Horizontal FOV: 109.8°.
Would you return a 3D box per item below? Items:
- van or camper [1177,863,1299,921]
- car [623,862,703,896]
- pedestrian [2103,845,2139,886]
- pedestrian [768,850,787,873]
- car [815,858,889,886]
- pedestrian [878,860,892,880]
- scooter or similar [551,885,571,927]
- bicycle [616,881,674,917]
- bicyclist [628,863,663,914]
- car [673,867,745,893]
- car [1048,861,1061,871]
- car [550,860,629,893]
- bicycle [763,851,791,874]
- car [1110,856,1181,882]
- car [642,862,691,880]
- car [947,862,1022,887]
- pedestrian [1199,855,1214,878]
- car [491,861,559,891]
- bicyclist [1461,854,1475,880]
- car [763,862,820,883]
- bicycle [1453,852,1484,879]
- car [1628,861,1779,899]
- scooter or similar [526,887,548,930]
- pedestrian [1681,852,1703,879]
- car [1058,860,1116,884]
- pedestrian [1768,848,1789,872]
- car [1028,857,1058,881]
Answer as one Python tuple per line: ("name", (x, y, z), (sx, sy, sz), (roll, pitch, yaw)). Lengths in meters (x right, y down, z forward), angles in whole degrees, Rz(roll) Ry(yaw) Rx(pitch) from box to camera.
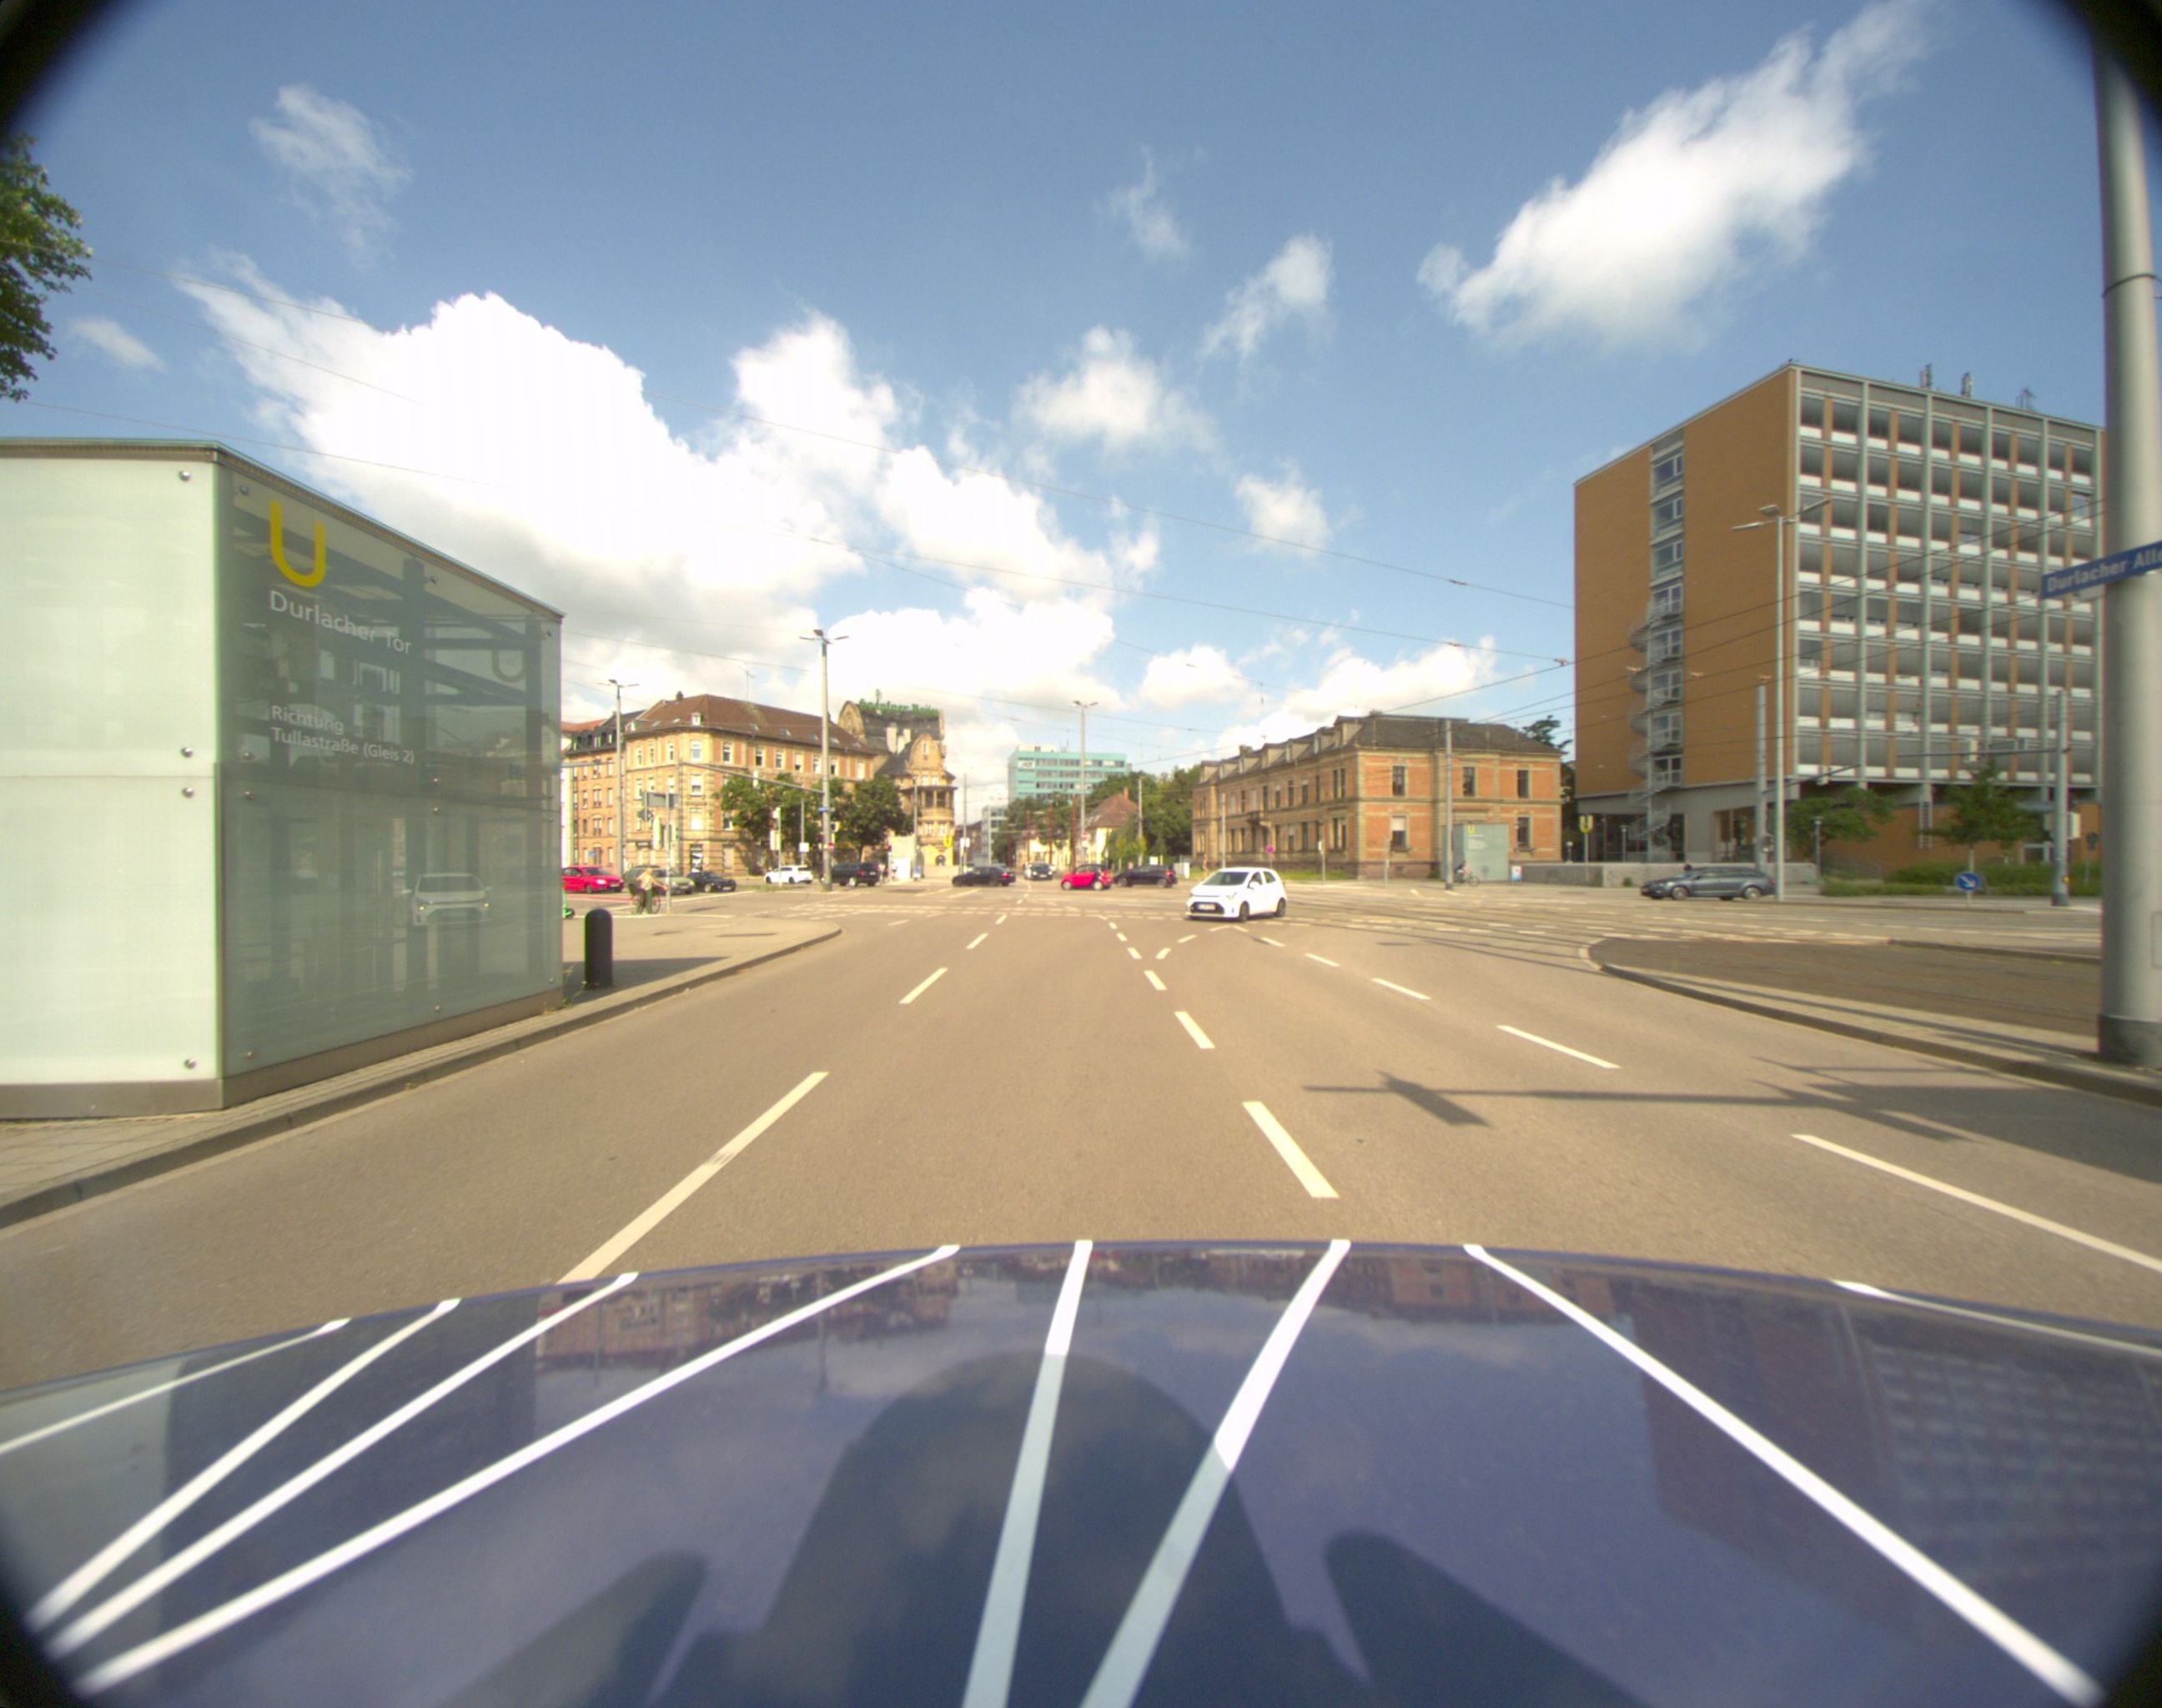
("van or camper", (4.590, 1.009, 21.801), (1.623, 1.467, 4.008), (0, 0, 42))
("car", (-21.864, 1.288, 39.725), (3.989, 1.505, 1.829), (0, 5, 32))
("pedestrian", (54.117, 0.591, 39.546), (0.805, 2.005, 0.725), (2, 10, 38))
("pedestrian", (-25.518, 0.607, 63.818), (0.993, 1.832, 0.997), (1, 6, 39))
("car", (-15.630, 1.178, 51.799), (4.671, 1.659, 2.003), (1, 3, 27))
("pedestrian", (-15.666, 1.279, 60.803), (0.707, 1.632, 0.798), (0, 0, 23))
("scooter or similar", (-15.376, 1.521, 22.475), (0.382, 1.151, 0.927), (-2, 2, -40))
("bicycle", (-14.908, 1.508, 26.048), (0.789, 1.121, 1.992), (-1, 0, 2))
("bicyclist", (-14.903, 1.184, 26.010), (0.711, 1.734, 0.828), (-1, -2, 1))
("car", (-20.432, 1.407, 41.697), (3.989, 1.155, 1.629), (0, 5, 32))
("car", (-4.761, 2.143, 136.600), (1.757, 1.522, 3.994), (-2, 3, -11))
("car", (-27.002, 1.208, 41.704), (3.989, 1.511, 2.002), (0, 5, 32))
("bicycle", (-25.575, 0.699, 63.879), (2.461, 1.716, 1.010), (1, 6, 40))
("car", (4.022, 0.910, 47.160), (3.991, 1.446, 1.716), (-1, 3, 22))
("car", (-35.987, 1.428, 65.941), (4.244, 1.519, 1.776), (0, 0, 30))
("car", (-6.407, 1.342, 50.570), (4.499, 1.391, 2.002), (0, 3, 18))
("pedestrian", (9.607, 0.922, 58.133), (0.785, 1.727, 0.858), (-1, 1, -21))
("car", (-33.817, 1.290, 46.209), (3.988, 1.544, 2.003), (1, 5, 35))
("bicyclist", (24.992, 0.823, 49.105), (0.575, 1.661, 0.654), (-1, 1, -43))
("car", (-22.549, 1.464, 59.105), (4.221, 1.438, 1.687), (-2, 3, 27))
("bicycle", (25.012, 0.732, 49.111), (0.733, 1.767, 1.632), (-1, 1, -43))
("car", (26.361, 1.094, 32.347), (4.538, 1.274, 2.000), (-2, 5, 9))
("scooter or similar", (-15.790, 1.570, 22.057), (0.382, 1.151, 0.927), (-1, 2, -28))
("pedestrian", (36.478, 0.670, 45.403), (0.764, 1.579, 0.773), (0, 0, 13))
("car", (0.339, 1.052, 44.383), (3.004, 1.208, 1.611), (-2, 3, 16))
("pedestrian", (45.472, 0.386, 49.541), (0.766, 1.579, 0.936), (-1, 1, -45))
("car", (-3.466, 1.317, 68.635), (2.000, 1.730, 4.334), (-3, 4, -11))
